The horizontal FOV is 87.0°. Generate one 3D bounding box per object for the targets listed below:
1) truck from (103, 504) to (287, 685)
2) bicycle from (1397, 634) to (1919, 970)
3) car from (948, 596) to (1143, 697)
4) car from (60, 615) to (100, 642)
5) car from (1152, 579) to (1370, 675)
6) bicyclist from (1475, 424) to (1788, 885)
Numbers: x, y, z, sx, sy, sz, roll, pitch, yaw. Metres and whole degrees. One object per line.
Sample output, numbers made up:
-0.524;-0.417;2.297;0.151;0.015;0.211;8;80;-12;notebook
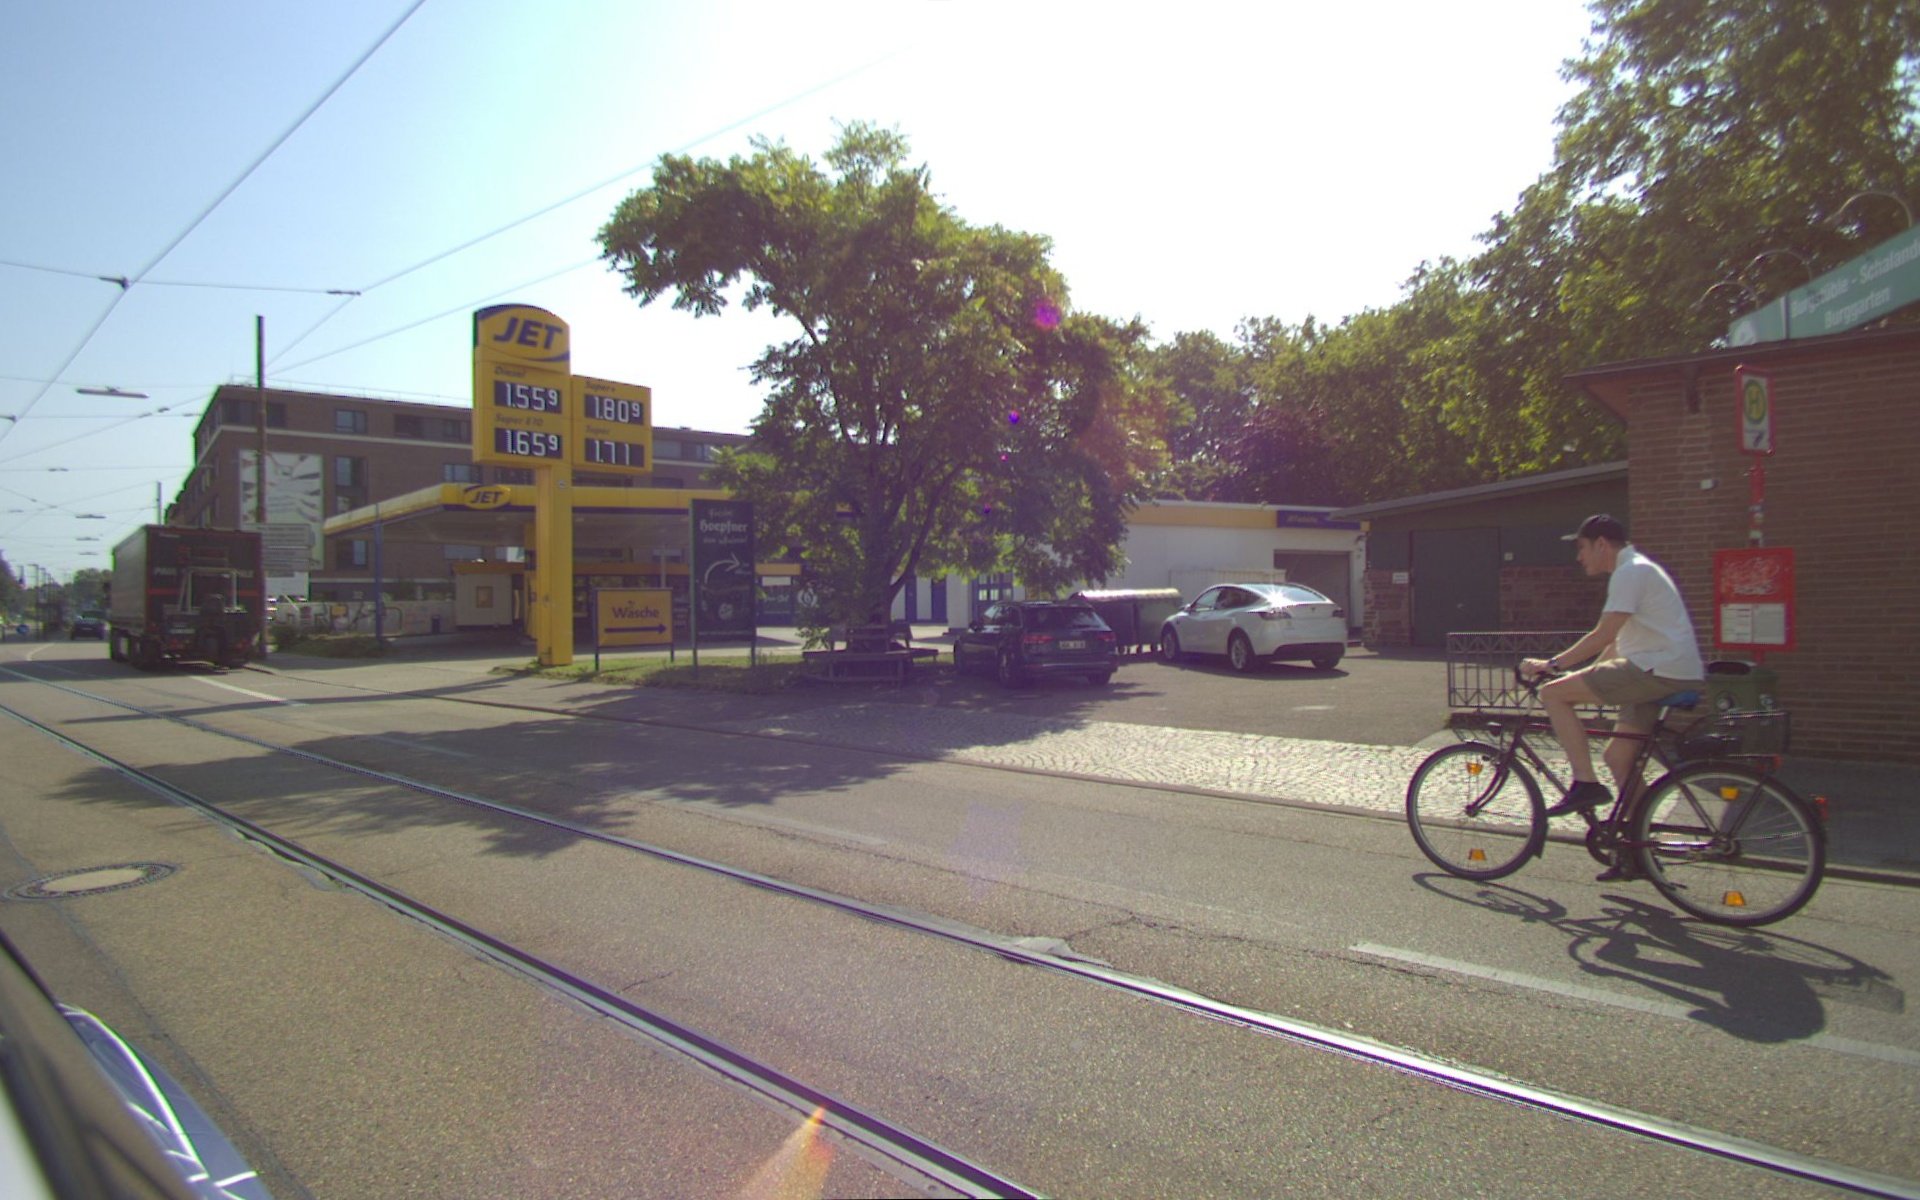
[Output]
-24.961;-0.069;32.383;3.127;4.487;16.859;-1;0;-42;truck
3.272;0.815;4.834;2.033;1.249;0.777;-1;0;41;bicycle
1.296;0.699;17.483;1.905;1.472;4.540;-1;0;-15;car
-58.826;1.890;67.648;1.754;1.679;4.003;-1;0;-44;car
5.593;0.463;19.512;1.905;1.610;4.540;-1;0;-15;car
3.229;0.233;4.899;1.175;1.944;0.634;-1;0;41;bicyclist
